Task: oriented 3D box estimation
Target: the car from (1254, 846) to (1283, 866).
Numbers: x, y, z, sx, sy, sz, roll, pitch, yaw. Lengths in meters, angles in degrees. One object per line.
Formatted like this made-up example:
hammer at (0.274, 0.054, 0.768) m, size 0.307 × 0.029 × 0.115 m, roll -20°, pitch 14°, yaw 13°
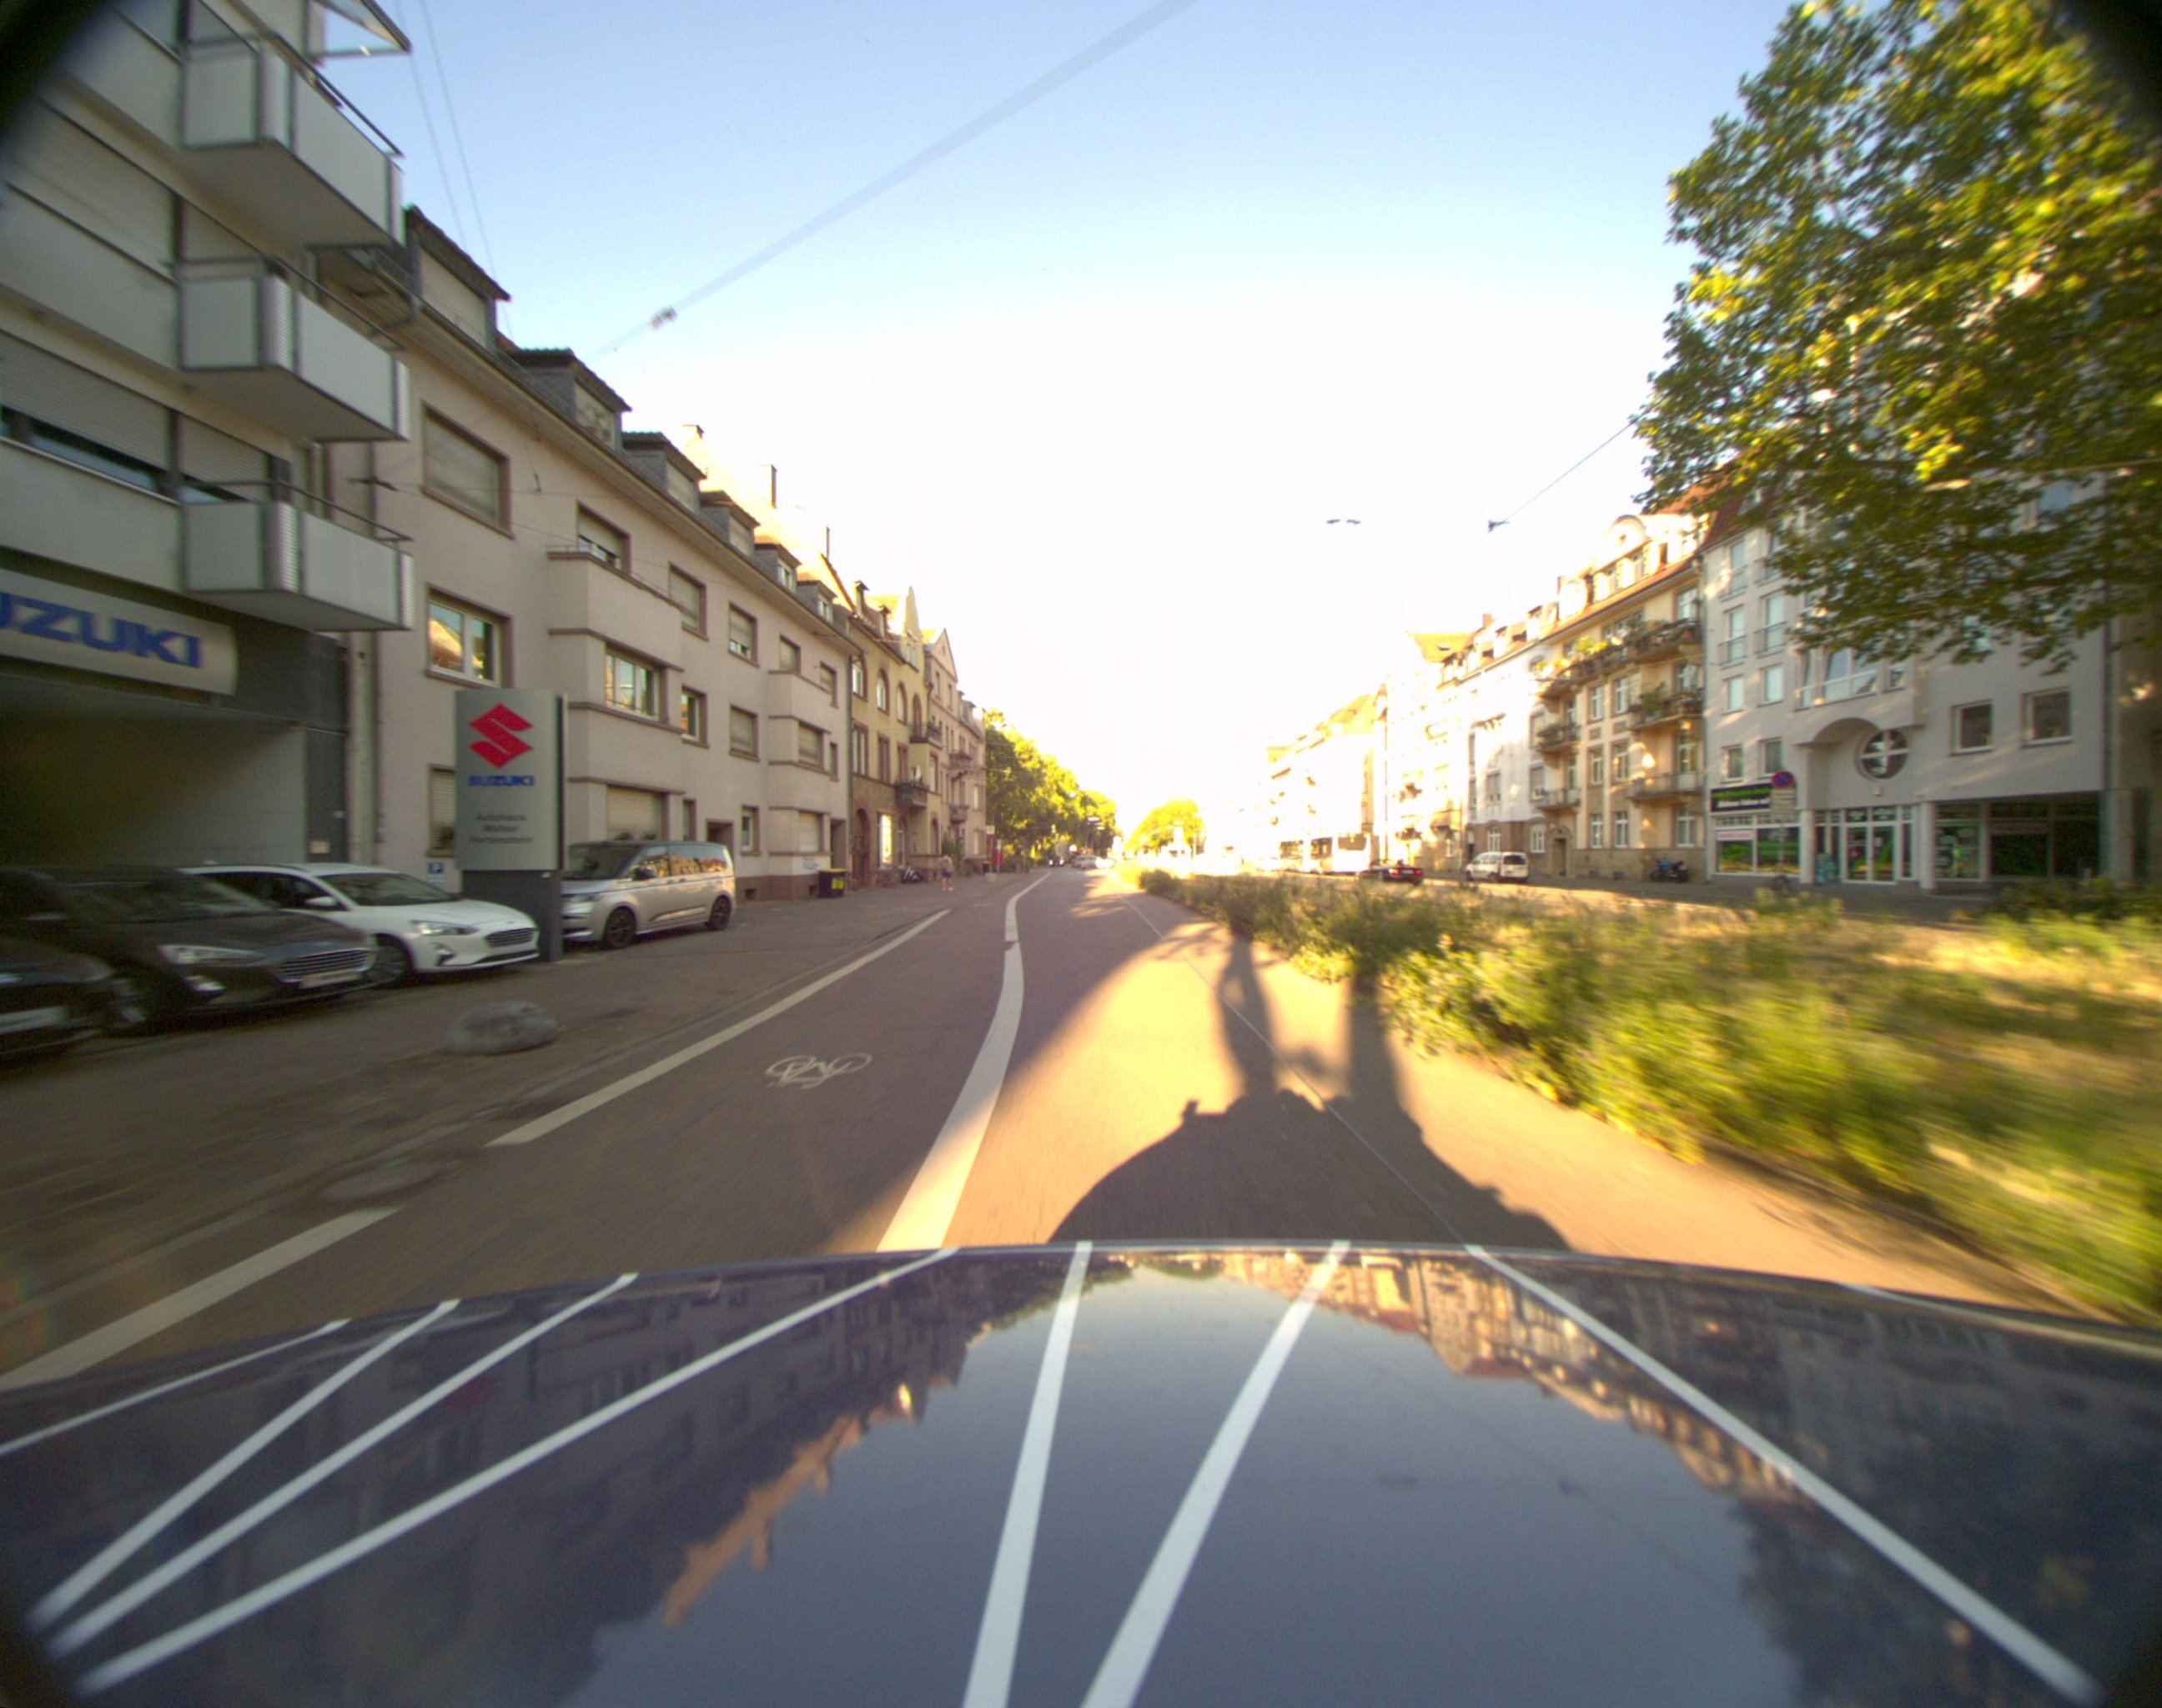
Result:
car at (16.617, 0.176, 67.460) m, size 1.934 × 1.674 × 4.001 m, roll 0°, pitch 1°, yaw 6°

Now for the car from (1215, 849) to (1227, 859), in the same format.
car at (27.838, -0.067, 151.547) m, size 1.919 × 1.889 × 4.310 m, roll 0°, pitch 1°, yaw 4°

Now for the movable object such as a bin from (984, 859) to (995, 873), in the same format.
movable object such as a bin at (-7.085, 0.905, 59.041) m, size 0.657 × 1.040 × 0.659 m, roll 0°, pitch 2°, yaw 15°

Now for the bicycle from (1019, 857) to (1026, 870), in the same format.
bicycle at (-5.201, 0.833, 67.890) m, size 0.370 × 1.062 × 1.874 m, roll 0°, pitch 0°, yaw 2°

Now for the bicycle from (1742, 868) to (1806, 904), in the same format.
bicycle at (23.141, 1.054, 25.407) m, size 0.758 × 1.027 × 1.897 m, roll -6°, pitch 0°, yaw 16°

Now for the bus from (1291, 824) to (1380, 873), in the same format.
bus at (19.220, -0.493, 58.342) m, size 3.262 × 3.355 × 11.976 m, roll 0°, pitch 1°, yaw 2°

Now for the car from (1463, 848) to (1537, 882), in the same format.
car at (23.814, 0.580, 43.379) m, size 1.908 × 1.776 × 4.653 m, roll 0°, pitch 1°, yaw 4°

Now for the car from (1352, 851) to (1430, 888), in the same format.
car at (13.932, 0.642, 34.414) m, size 1.720 × 1.477 × 4.700 m, roll 2°, pitch 1°, yaw 2°

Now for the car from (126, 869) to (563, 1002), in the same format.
car at (-9.165, 0.965, 9.703) m, size 3.819 × 1.492 × 1.914 m, roll -1°, pitch 0°, yaw 3°

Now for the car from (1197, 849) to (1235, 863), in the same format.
car at (14.937, 0.222, 84.075) m, size 4.050 × 1.517 × 1.782 m, roll 0°, pitch 2°, yaw 9°

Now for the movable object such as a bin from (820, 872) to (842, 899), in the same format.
movable object such as a bin at (-9.084, 1.146, 27.604) m, size 0.555 × 0.964 × 0.585 m, roll 0°, pitch 2°, yaw 4°

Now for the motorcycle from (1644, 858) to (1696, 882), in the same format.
motorcycle at (27.077, 0.729, 34.998) m, size 0.529 × 1.015 × 2.420 m, roll -3°, pitch 0°, yaw 2°

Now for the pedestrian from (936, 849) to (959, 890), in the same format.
pedestrian at (-6.122, 0.698, 34.897) m, size 0.831 × 1.802 × 1.150 m, roll 0°, pitch 2°, yaw 1°

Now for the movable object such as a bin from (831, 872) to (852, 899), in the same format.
movable object such as a bin at (-8.937, 1.165, 28.413) m, size 0.555 × 0.964 × 0.585 m, roll 0°, pitch 2°, yaw 4°

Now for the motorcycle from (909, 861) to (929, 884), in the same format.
motorcycle at (-8.967, 1.013, 42.129) m, size 0.591 × 1.131 × 2.504 m, roll -1°, pitch 1°, yaw -1°

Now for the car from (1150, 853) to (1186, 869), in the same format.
car at (10.062, 0.812, 87.862) m, size 3.996 × 1.696 × 1.836 m, roll 0°, pitch 2°, yaw 3°

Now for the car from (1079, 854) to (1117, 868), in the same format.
car at (1.938, 0.774, 85.038) m, size 4.123 × 1.565 × 1.717 m, roll 0°, pitch 2°, yaw 7°

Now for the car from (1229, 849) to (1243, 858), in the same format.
car at (23.746, -0.077, 116.336) m, size 1.734 × 1.471 × 3.820 m, roll 0°, pitch 0°, yaw 19°

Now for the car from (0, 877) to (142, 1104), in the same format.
car at (-9.064, 0.950, 5.143) m, size 3.425 × 1.516 × 1.741 m, roll 0°, pitch 1°, yaw 4°

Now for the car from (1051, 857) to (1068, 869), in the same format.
car at (-3.204, 1.302, 112.620) m, size 1.877 × 1.587 × 4.002 m, roll 0°, pitch 0°, yaw 7°

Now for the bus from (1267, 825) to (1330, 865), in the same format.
bus at (19.648, -0.845, 69.367) m, size 3.273 × 3.355 × 9.898 m, roll 0°, pitch 1°, yaw 2°

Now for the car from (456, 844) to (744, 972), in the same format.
car at (-8.547, 0.810, 14.214) m, size 1.896 × 1.937 × 4.901 m, roll 0°, pitch 1°, yaw 5°

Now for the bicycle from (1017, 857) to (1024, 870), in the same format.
bicycle at (-5.156, 0.833, 64.814) m, size 0.438 × 1.092 × 1.931 m, roll -1°, pitch 0°, yaw -1°

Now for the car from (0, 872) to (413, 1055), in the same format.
car at (-9.210, 0.965, 7.364) m, size 3.878 × 1.505 × 1.809 m, roll 0°, pitch 0°, yaw 1°
